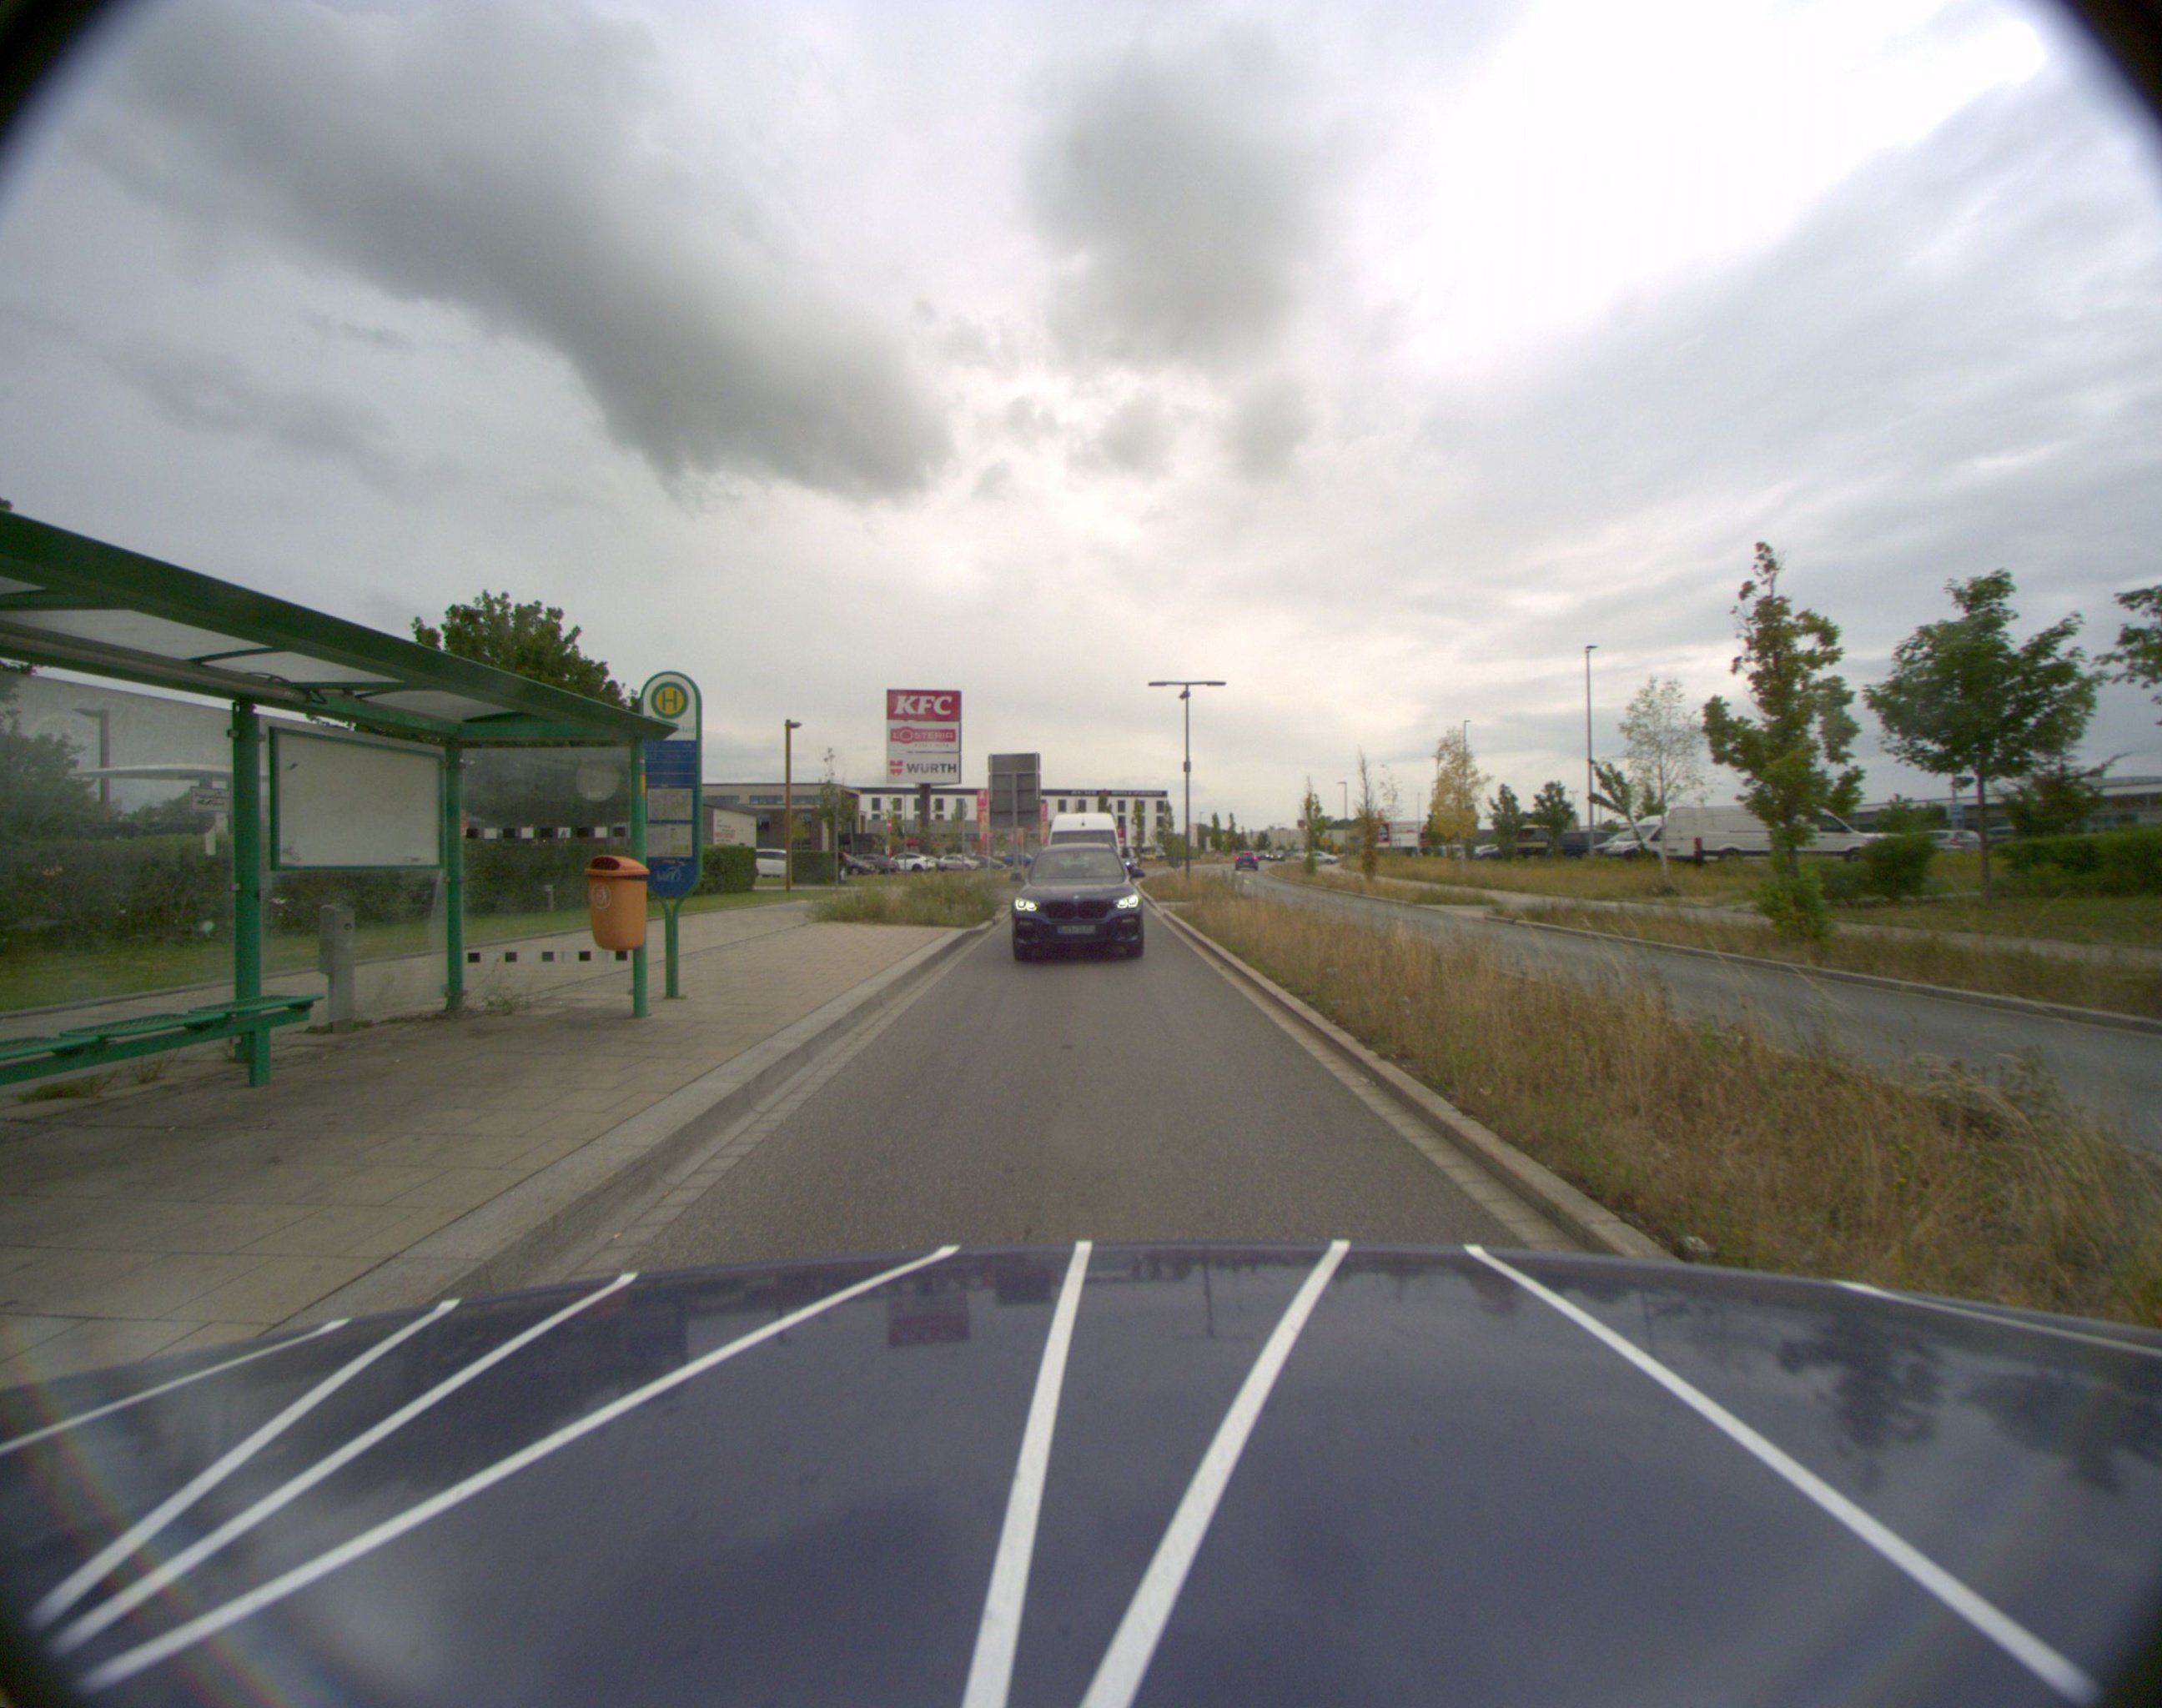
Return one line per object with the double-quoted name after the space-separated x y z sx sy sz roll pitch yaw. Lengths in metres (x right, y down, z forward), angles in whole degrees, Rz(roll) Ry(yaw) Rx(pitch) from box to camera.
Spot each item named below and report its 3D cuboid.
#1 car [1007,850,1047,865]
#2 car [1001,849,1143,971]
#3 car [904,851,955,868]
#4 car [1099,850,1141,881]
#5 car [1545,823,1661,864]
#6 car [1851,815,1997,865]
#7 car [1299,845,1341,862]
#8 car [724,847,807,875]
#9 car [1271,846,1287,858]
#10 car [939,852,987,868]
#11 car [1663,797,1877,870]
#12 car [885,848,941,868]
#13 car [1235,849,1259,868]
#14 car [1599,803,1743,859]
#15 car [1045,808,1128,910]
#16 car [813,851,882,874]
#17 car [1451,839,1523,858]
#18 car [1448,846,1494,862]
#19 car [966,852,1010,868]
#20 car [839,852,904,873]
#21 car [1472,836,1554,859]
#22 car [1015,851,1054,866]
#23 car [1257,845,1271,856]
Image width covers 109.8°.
-6.012 0.418 84.161 3.992 1.477 1.849 -2 1 18 "car"
-0.116 0.739 12.004 1.867 1.598 4.000 0 0 0 "car"
-13.101 0.484 65.804 3.994 1.477 1.848 0 0 9 "car"
2.322 0.662 44.681 1.860 1.660 4.004 -2 -1 11 "car"
29.562 -0.564 43.170 5.050 2.210 2.066 0 0 8 "car"
43.649 -0.736 39.566 2.063 2.359 5.057 -2 1 1 "car"
26.192 -0.075 83.383 3.990 1.660 2.004 -3 -1 29 "car"
-18.131 0.401 43.753 3.996 1.519 1.847 0 0 1 "car"
27.664 -0.326 106.283 1.996 1.565 4.004 -2 1 17 "car"
-10.931 0.542 70.444 3.993 1.477 1.849 0 0 13 "car"
27.425 -0.796 30.454 6.413 2.609 2.065 -2 1 5 "car"
-13.415 0.310 60.763 3.994 1.513 1.848 0 0 9 "car"
13.616 0.393 62.570 1.732 1.504 4.003 0 0 9 "car"
27.492 -1.077 35.518 5.053 2.359 2.064 -2 1 1 "car"
0.136 0.123 21.855 2.026 2.513 6.104 0 0 0 "car"
-15.695 0.573 51.173 3.994 1.477 1.848 0 0 9 "car"
34.800 -0.460 65.229 5.049 1.646 2.066 0 0 11 "car"
38.864 -0.001 75.796 3.990 1.456 1.739 -2 1 28 "car"
-9.161 0.590 74.959 3.993 1.477 1.849 0 0 13 "car"
-14.835 0.581 53.911 3.994 1.477 1.848 0 0 9 "car"
32.940 -0.487 58.070 5.049 1.646 2.066 0 0 11 "car"
-5.328 0.493 86.807 3.992 1.477 1.849 -2 1 18 "car"
29.141 -0.521 121.133 1.997 1.565 4.003 -2 1 11 "car"
